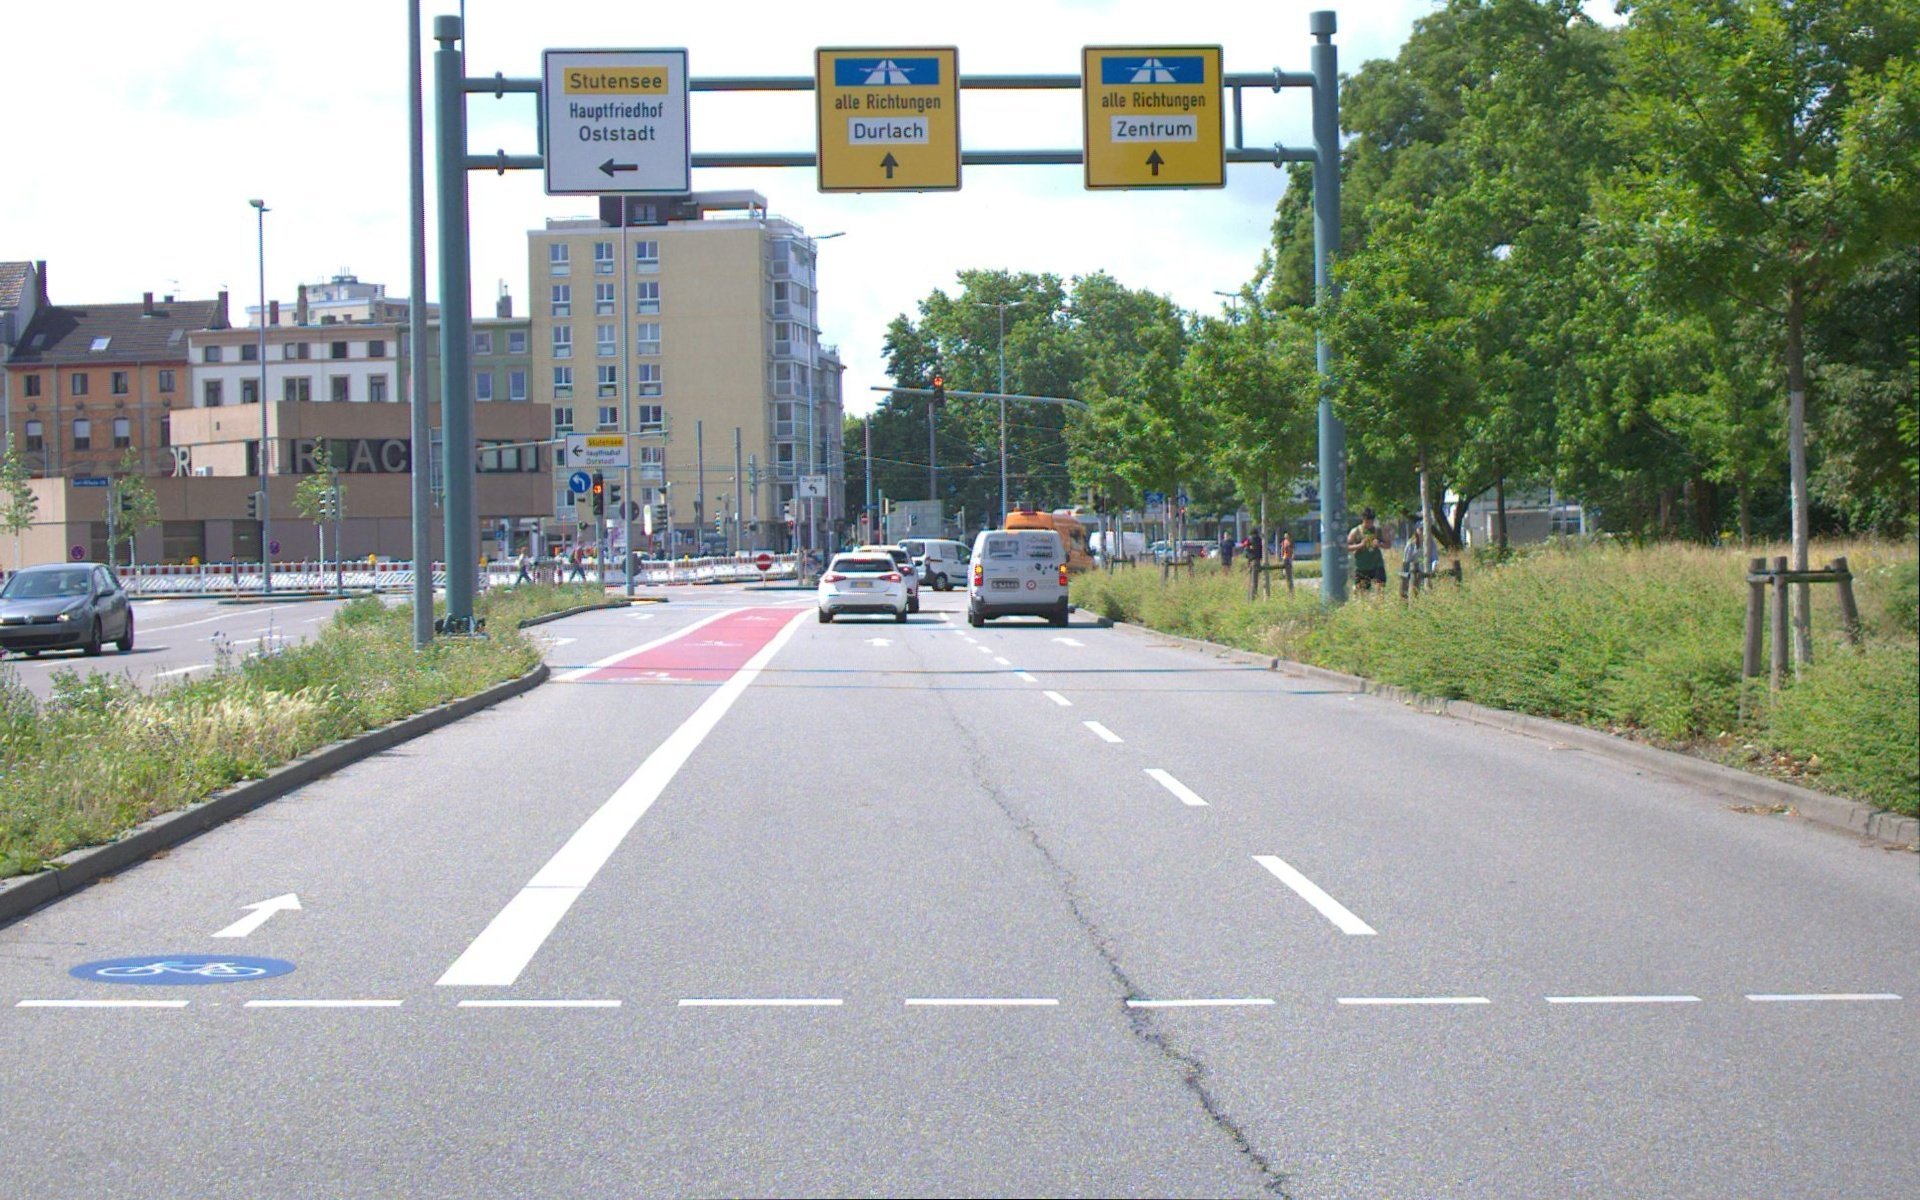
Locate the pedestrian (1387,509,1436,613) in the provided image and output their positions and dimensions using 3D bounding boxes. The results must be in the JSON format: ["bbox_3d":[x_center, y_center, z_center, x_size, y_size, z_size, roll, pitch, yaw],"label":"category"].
[{"bbox_3d":[6.921,-0.597,52.693,0.623,1.575,0.708,-1,1,-2],"label":"pedestrian"}]

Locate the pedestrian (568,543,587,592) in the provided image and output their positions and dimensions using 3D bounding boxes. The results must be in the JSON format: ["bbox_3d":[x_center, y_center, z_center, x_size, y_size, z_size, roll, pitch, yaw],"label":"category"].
[{"bbox_3d":[-13.645,-1.155,122.614,0.525,1.727,0.623,-1,1,8],"label":"pedestrian"}]

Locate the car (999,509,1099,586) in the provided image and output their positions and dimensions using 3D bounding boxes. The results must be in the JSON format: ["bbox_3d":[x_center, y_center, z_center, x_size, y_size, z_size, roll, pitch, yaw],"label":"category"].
[{"bbox_3d":[3.316,-1.948,127.190,2.132,2.771,4.633,-1,1,23],"label":"car"}]

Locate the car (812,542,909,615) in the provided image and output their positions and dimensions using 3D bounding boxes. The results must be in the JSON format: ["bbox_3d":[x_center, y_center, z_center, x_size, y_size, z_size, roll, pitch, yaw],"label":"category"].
[{"bbox_3d":[-2.017,-0.467,70.935,1.904,1.419,4.385,-1,1,-1],"label":"car"}]

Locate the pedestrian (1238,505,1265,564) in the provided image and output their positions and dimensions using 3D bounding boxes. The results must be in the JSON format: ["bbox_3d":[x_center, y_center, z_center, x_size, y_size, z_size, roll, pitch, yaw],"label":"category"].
[{"bbox_3d":[8.658,-1.951,102.151,0.742,1.729,0.679,-1,1,2],"label":"pedestrian"}]

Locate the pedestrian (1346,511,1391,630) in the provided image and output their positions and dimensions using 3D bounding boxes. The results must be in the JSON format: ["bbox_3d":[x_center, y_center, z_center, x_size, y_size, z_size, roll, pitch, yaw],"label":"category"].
[{"bbox_3d":[6.214,-0.454,52.252,0.567,1.795,0.639,-1,1,-2],"label":"pedestrian"}]

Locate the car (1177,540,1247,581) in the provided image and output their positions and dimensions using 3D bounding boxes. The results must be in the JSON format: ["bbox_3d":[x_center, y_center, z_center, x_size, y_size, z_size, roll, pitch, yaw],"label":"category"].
[{"bbox_3d":[11.716,-1.834,159.570,1.996,1.820,3.995,-1,1,24],"label":"car"}]

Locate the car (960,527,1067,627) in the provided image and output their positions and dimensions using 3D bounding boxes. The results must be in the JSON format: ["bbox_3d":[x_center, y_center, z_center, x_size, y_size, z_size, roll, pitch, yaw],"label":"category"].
[{"bbox_3d":[1.016,-0.485,67.820,1.942,1.863,4.826,-1,1,-1],"label":"car"}]

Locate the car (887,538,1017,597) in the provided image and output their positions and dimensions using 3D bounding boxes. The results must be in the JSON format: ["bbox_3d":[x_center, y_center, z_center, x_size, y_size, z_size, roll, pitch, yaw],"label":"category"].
[{"bbox_3d":[-0.265,-1.091,115.964,3.988,1.809,1.999,2,0,-39],"label":"car"}]

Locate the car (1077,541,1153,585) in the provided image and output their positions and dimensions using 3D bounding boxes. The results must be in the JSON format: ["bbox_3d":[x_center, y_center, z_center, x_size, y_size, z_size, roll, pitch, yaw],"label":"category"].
[{"bbox_3d":[7.181,-1.711,158.949,2.008,1.960,4.633,-1,1,23],"label":"car"}]

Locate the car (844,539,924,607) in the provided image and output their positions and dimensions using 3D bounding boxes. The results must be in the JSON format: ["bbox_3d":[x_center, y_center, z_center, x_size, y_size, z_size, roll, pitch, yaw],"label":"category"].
[{"bbox_3d":[-1.760,-0.644,80.090,1.791,1.534,4.011,1,1,-1],"label":"car"}]

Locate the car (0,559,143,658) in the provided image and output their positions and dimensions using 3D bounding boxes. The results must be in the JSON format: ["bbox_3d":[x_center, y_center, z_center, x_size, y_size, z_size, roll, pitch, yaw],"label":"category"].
[{"bbox_3d":[-14.279,0.110,54.686,1.700,1.440,4.146,-2,1,-2],"label":"car"}]
